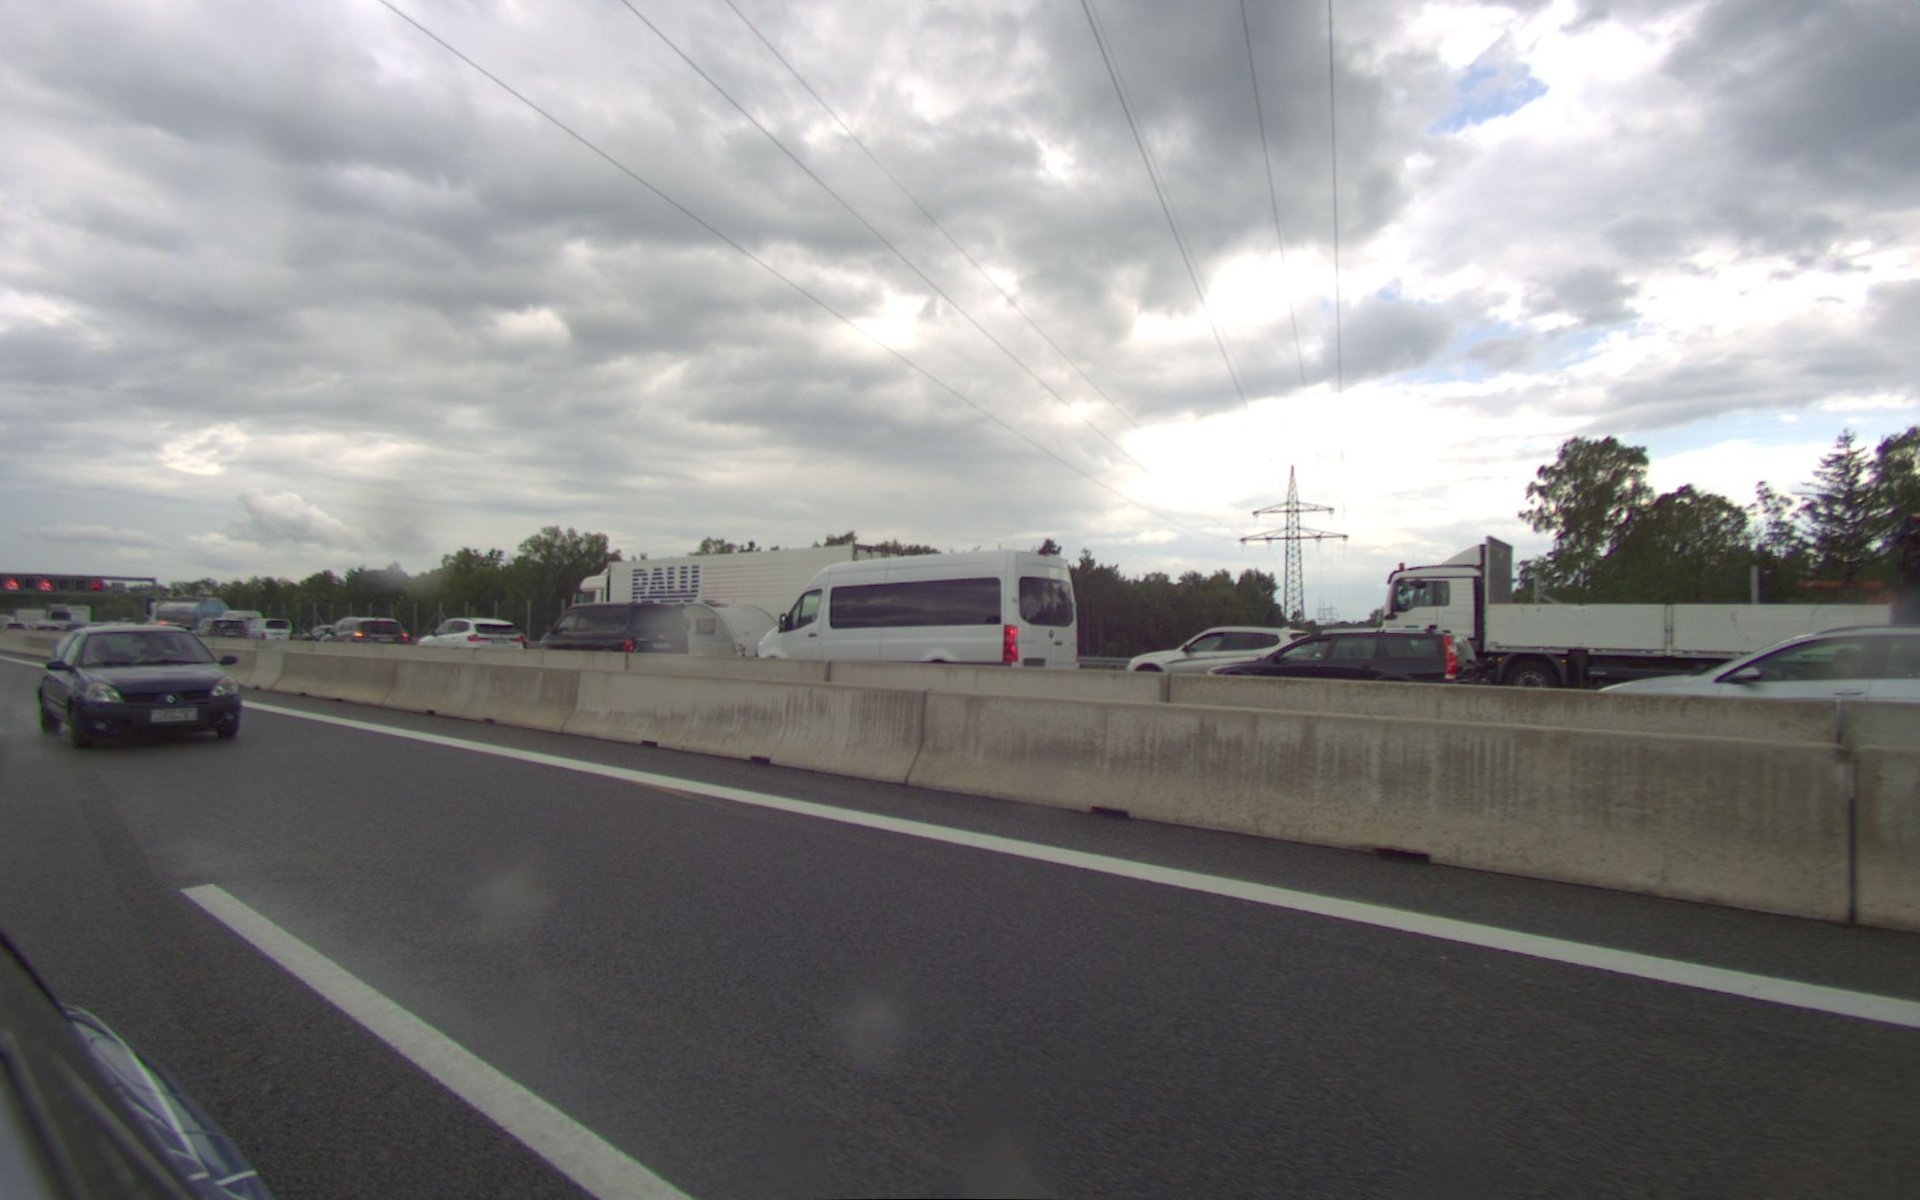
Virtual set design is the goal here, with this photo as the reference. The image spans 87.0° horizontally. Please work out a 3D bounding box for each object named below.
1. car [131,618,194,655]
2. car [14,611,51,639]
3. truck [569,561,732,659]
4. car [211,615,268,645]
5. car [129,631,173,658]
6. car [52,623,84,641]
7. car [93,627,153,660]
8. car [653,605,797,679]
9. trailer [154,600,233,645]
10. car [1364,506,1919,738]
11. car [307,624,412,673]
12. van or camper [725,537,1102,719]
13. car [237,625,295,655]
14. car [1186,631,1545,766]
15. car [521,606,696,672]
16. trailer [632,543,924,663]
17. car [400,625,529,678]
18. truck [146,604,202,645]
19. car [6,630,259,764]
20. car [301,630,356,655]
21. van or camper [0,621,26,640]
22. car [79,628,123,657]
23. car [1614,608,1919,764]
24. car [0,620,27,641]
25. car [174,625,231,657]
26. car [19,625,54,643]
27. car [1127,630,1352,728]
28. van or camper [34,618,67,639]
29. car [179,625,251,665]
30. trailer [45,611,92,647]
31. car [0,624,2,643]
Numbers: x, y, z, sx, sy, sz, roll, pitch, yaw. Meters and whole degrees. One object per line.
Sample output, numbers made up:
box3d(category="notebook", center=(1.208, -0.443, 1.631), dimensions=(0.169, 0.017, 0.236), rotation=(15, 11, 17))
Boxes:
box3d(category="car", center=(-44.630, 2.049, 56.617), dimensions=(3.998, 1.952, 2.094), rotation=(-2, -1, 41))
box3d(category="car", center=(-111.791, 3.044, 121.944), dimensions=(7.623, 3.325, 2.472), rotation=(-2, -2, 41))
box3d(category="truck", center=(-11.970, 0.432, 38.871), dimensions=(6.524, 3.432, 3.012), rotation=(-2, -1, 41))
box3d(category="car", center=(-54.945, 2.285, 77.149), dimensions=(6.615, 2.166, 2.094), rotation=(-2, -1, 41))
box3d(category="car", center=(-60.279, 3.305, 75.397), dimensions=(3.998, 1.968, 1.874), rotation=(-2, -1, 41))
box3d(category="car", center=(-89.111, 3.190, 101.119), dimensions=(4.424, 1.673, 1.844), rotation=(-2, -1, 41))
box3d(category="car", center=(-53.018, 2.740, 64.078), dimensions=(5.212, 1.952, 2.094), rotation=(-2, -1, 41))
box3d(category="car", center=(-6.933, 1.206, 29.722), dimensions=(3.998, 2.016, 2.185), rotation=(-2, -1, 41))
box3d(category="trailer", center=(-64.979, 1.985, 85.621), dimensions=(13.603, 3.553, 2.682), rotation=(-2, -2, 41))
box3d(category="car", center=(14.868, 0.455, 20.996), dimensions=(11.652, 3.977, 3.168), rotation=(-2, -1, 41))
box3d(category="car", center=(-21.847, 1.731, 36.767), dimensions=(4.842, 1.636, 1.874), rotation=(-2, -1, 41))
box3d(category="van or camper", center=(-1.165, 0.498, 18.524), dimensions=(7.517, 2.725, 2.156), rotation=(-2, -1, 41))
box3d(category="car", center=(-48.391, 2.753, 70.537), dimensions=(5.436, 1.952, 2.094), rotation=(-2, -1, 41))
box3d(category="car", center=(6.769, 1.526, 17.366), dimensions=(5.367, 1.930, 1.973), rotation=(-2, -1, 41))
box3d(category="car", center=(-8.959, 0.969, 25.559), dimensions=(5.169, 1.488, 1.860), rotation=(-2, -1, 41))
box3d(category="trailer", center=(-6.542, 0.241, 34.101), dimensions=(11.770, 3.459, 2.993), rotation=(-2, -1, 41))
box3d(category="car", center=(-15.634, 1.577, 31.795), dimensions=(5.078, 1.488, 1.830), rotation=(-2, -1, 41))
box3d(category="truck", center=(-69.886, 2.222, 89.907), dimensions=(6.796, 3.540, 2.700), rotation=(-2, -2, 41))
box3d(category="car", center=(-10.954, 1.116, 13.250), dimensions=(5.013, 1.418, 1.758), rotation=(-2, -1, 41))
box3d(category="car", center=(-39.260, 2.612, 62.898), dimensions=(3.998, 1.463, 1.848), rotation=(-2, -1, 41))
box3d(category="van or camper", center=(-151.216, 4.862, 161.301), dimensions=(6.206, 2.869, 2.558), rotation=(-2, -3, 39))
box3d(category="car", center=(-62.346, 3.056, 73.431), dimensions=(4.210, 1.968, 1.874), rotation=(-2, -1, 41))
box3d(category="car", center=(8.816, 0.748, 9.427), dimensions=(4.369, 1.345, 1.672), rotation=(-2, -1, 41))
box3d(category="car", center=(-92.123, 2.985, 98.222), dimensions=(4.803, 1.984, 1.844), rotation=(-2, -1, 41))
box3d(category="car", center=(-49.947, 2.685, 66.702), dimensions=(4.424, 1.952, 2.094), rotation=(-2, -1, 41))
box3d(category="car", center=(-80.261, 2.957, 87.950), dimensions=(4.970, 1.495, 1.746), rotation=(-1, -1, 41))
box3d(category="car", center=(6.202, 1.668, 22.736), dimensions=(4.440, 1.930, 1.973), rotation=(-2, -1, 41))
box3d(category="van or camper", center=(-98.552, 3.060, 109.674), dimensions=(4.968, 2.202, 2.073), rotation=(-2, -2, 41))
box3d(category="car", center=(-35.863, 2.146, 48.672), dimensions=(4.704, 1.772, 1.850), rotation=(-2, -1, 41))
box3d(category="trailer", center=(-128.022, 4.219, 145.201), dimensions=(13.283, 4.893, 3.115), rotation=(-2, -2, 40))
box3d(category="car", center=(-102.108, 3.578, 106.001), dimensions=(5.628, 1.984, 2.073), rotation=(-2, -2, 41))
